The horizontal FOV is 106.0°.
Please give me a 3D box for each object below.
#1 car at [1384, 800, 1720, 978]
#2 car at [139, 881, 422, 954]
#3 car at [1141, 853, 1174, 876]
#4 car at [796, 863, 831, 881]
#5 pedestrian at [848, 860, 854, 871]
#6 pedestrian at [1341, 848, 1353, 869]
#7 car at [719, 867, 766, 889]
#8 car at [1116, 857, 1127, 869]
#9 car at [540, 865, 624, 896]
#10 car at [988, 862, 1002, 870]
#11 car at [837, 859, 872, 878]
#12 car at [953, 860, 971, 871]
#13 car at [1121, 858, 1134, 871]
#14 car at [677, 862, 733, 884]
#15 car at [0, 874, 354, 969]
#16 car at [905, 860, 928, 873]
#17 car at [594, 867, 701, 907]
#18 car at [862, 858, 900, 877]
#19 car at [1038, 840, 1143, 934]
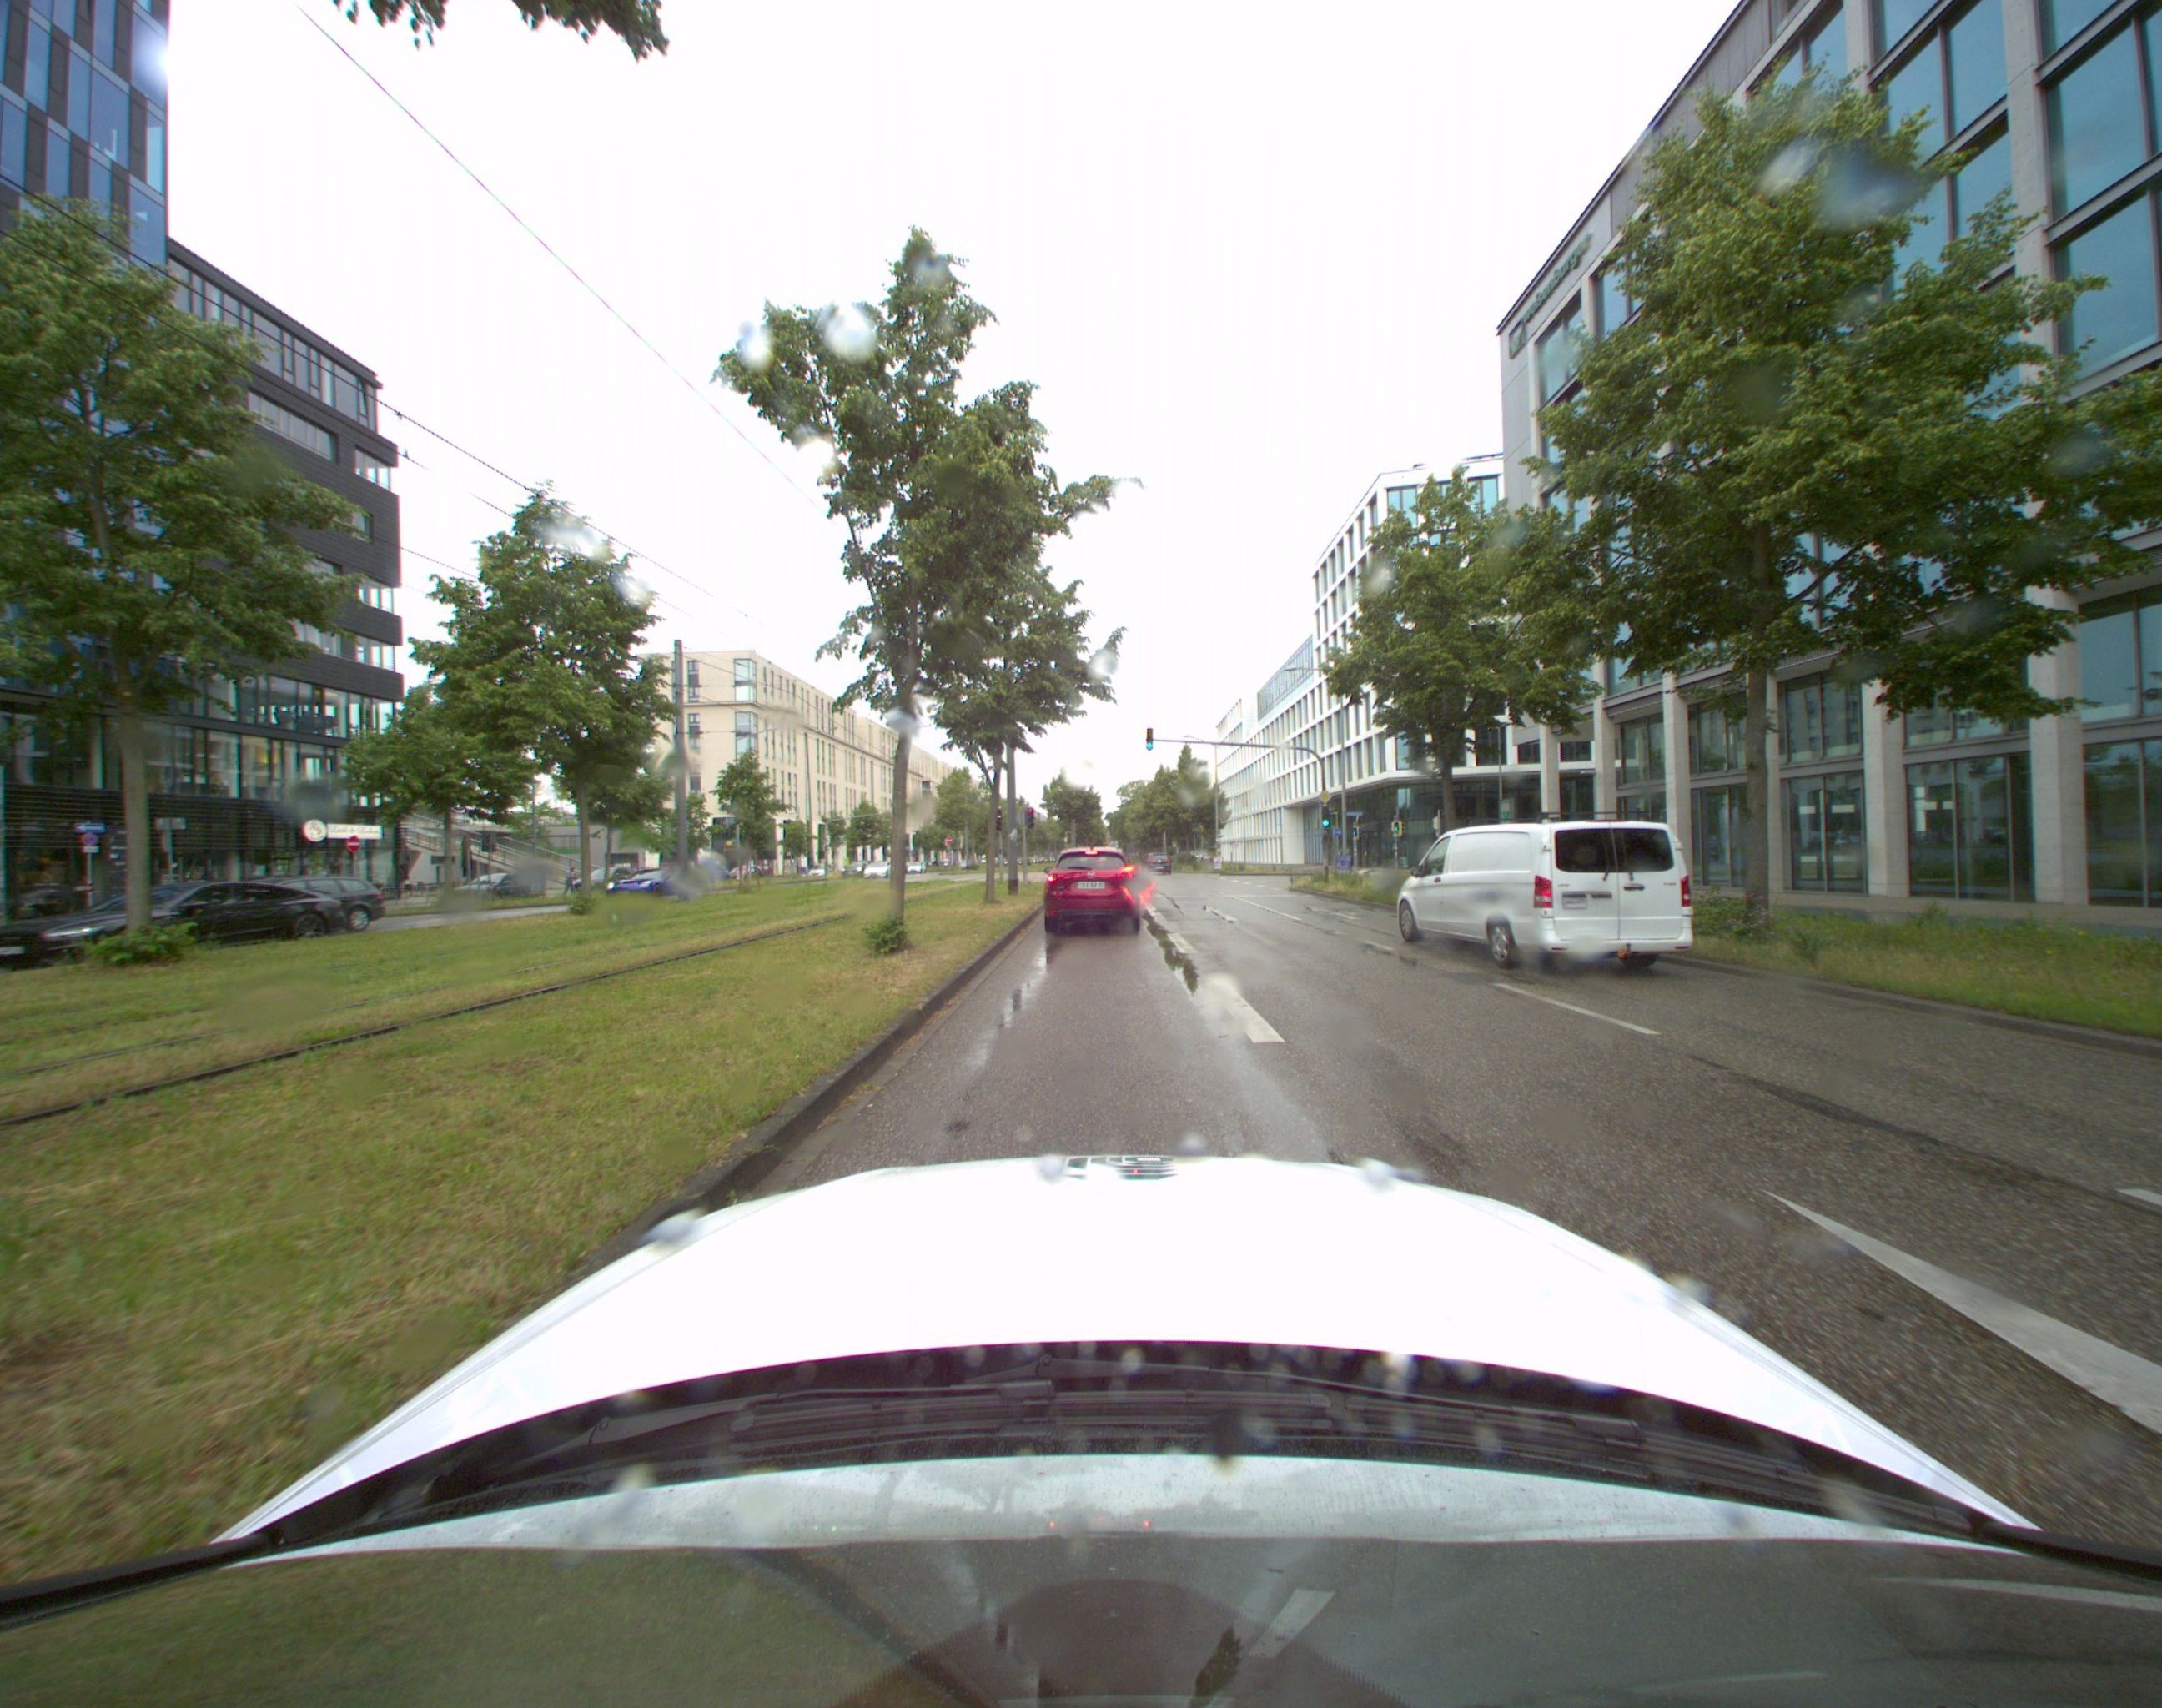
[{"bbox_3d":[6.247,0.418,11.715,1.960,1.979,5.092,-1,-1,1],"label":"car"},{"bbox_3d":[-19.082,1.428,19.839,1.986,1.380,4.874,-1,0,1],"label":"car"},{"bbox_3d":[5.238,0.685,55.979,1.739,1.465,3.777,-1,0,-3],"label":"car"},{"bbox_3d":[-26.075,1.773,79.542,1.987,1.618,3.999,-1,0,0],"label":"car"},{"bbox_3d":[-34.253,1.698,121.243,0.632,1.717,0.743,-1,0,4],"label":"pedestrian"},{"bbox_3d":[21.141,0.352,64.801,0.675,1.707,0.784,-1,0,1],"label":"pedestrian"},{"bbox_3d":[-26.808,1.849,64.634,1.989,1.598,4.441,-1,0,-3],"label":"car"},{"bbox_3d":[7.494,1.685,150.784,1.986,2.013,4.001,-1,0,1],"label":"car"},{"bbox_3d":[-27.258,1.416,44.715,1.989,1.484,4.441,-1,0,-3],"label":"car"},{"bbox_3d":[-16.617,2.287,157.369,1.986,1.484,4.447,-1,0,2],"label":"car"},{"bbox_3d":[-20.674,1.322,74.424,1.987,1.618,3.999,-1,0,0],"label":"car"},{"bbox_3d":[-17.052,1.586,116.508,1.988,1.484,4.443,-1,0,-2],"label":"car"},{"bbox_3d":[7.357,1.670,129.385,1.986,2.013,4.001,-1,0,1],"label":"car"},{"bbox_3d":[-26.885,1.340,58.403,1.987,1.484,4.444,-1,0,-1],"label":"car"},{"bbox_3d":[-16.747,1.117,15.153,1.986,1.380,4.874,-1,0,1],"label":"car"},{"bbox_3d":[-19.941,1.550,98.800,1.989,1.484,4.440,-1,0,-3],"label":"car"},{"bbox_3d":[-18.962,1.378,35.949,1.987,1.521,5.011,-1,0,0],"label":"car"},{"bbox_3d":[-16.749,1.106,68.309,1.986,1.484,4.446,-1,0,1],"label":"car"},{"bbox_3d":[0.214,0.602,16.871,1.891,1.677,4.001,-1,0,1],"label":"car"}]
